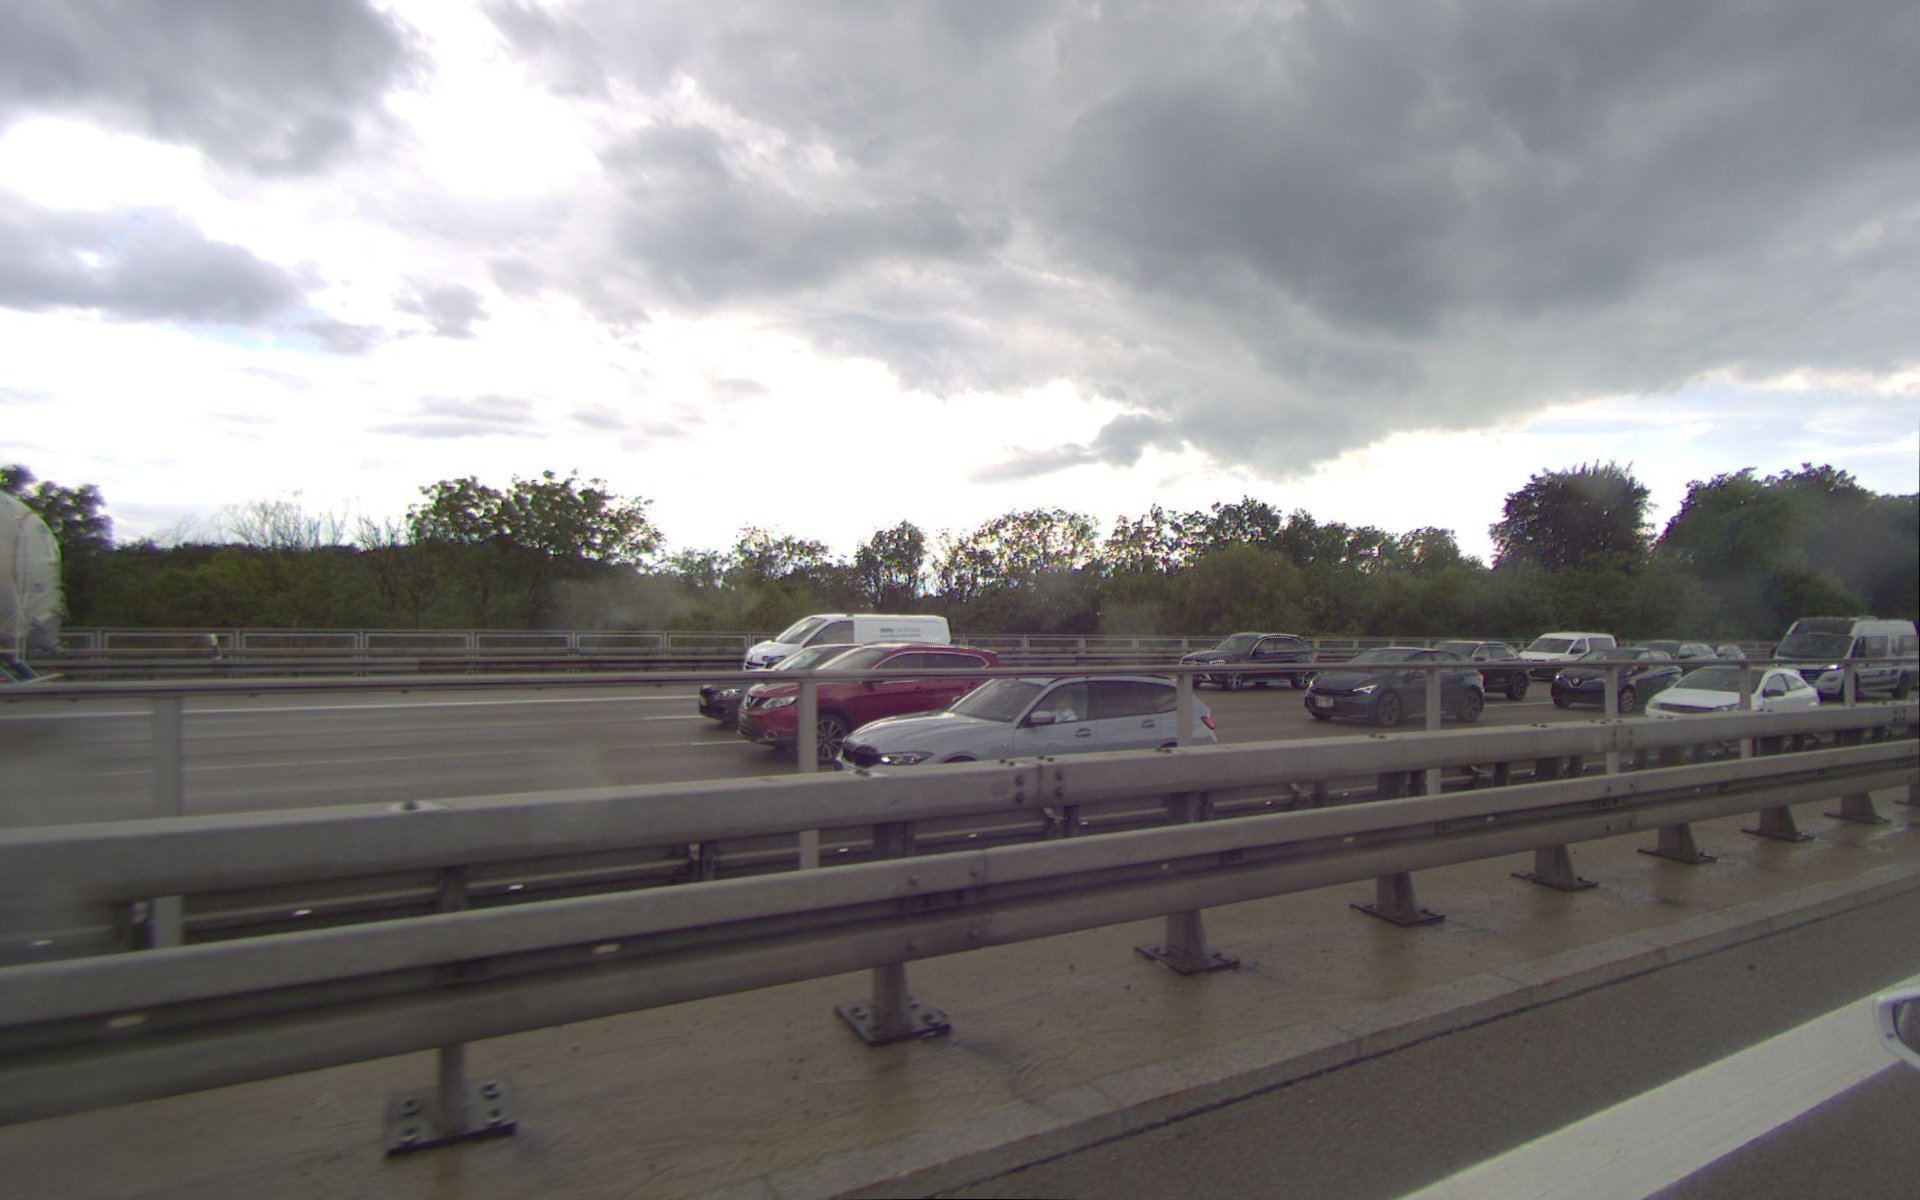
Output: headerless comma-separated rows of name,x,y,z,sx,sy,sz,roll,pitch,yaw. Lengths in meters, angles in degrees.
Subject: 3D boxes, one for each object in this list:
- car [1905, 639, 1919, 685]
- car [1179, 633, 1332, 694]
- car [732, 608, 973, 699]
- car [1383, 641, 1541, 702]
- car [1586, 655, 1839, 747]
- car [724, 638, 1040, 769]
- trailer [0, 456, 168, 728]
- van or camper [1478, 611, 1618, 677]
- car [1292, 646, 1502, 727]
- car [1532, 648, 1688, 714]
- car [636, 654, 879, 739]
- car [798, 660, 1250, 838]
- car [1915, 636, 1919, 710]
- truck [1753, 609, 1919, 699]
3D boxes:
car,37.014,2.319,37.414,3.955,1.657,1.668,2,-1,-32
car,8.840,1.833,29.914,4.614,1.669,1.679,1,-1,-30
car,-2.498,1.227,23.890,5.358,1.970,1.993,1,-1,-31
car,13.998,1.922,27.960,4.532,1.532,1.823,1,-1,-31
car,14.896,1.884,19.780,5.853,1.495,1.823,1,-1,-30
car,-1.108,1.422,15.008,4.370,1.669,1.822,1,-1,-32
trailer,-19.029,-0.201,13.314,13.066,4.010,2.449,1,-1,-31
van or camper,22.343,1.649,38.103,5.866,2.360,2.036,1,-1,-31
car,9.327,1.766,21.348,4.523,1.495,1.823,1,-1,-31
car,16.653,2.017,25.702,3.987,1.495,1.822,1,-1,-32
car,-3.526,1.634,17.723,3.954,1.284,1.491,2,-1,-31
car,0.849,1.525,11.555,5.014,1.534,1.942,1,-1,-32
car,28.255,1.991,27.445,4.670,1.975,1.939,1,-1,-31
truck,29.095,1.689,32.794,8.656,2.637,2.135,1,-1,-31
